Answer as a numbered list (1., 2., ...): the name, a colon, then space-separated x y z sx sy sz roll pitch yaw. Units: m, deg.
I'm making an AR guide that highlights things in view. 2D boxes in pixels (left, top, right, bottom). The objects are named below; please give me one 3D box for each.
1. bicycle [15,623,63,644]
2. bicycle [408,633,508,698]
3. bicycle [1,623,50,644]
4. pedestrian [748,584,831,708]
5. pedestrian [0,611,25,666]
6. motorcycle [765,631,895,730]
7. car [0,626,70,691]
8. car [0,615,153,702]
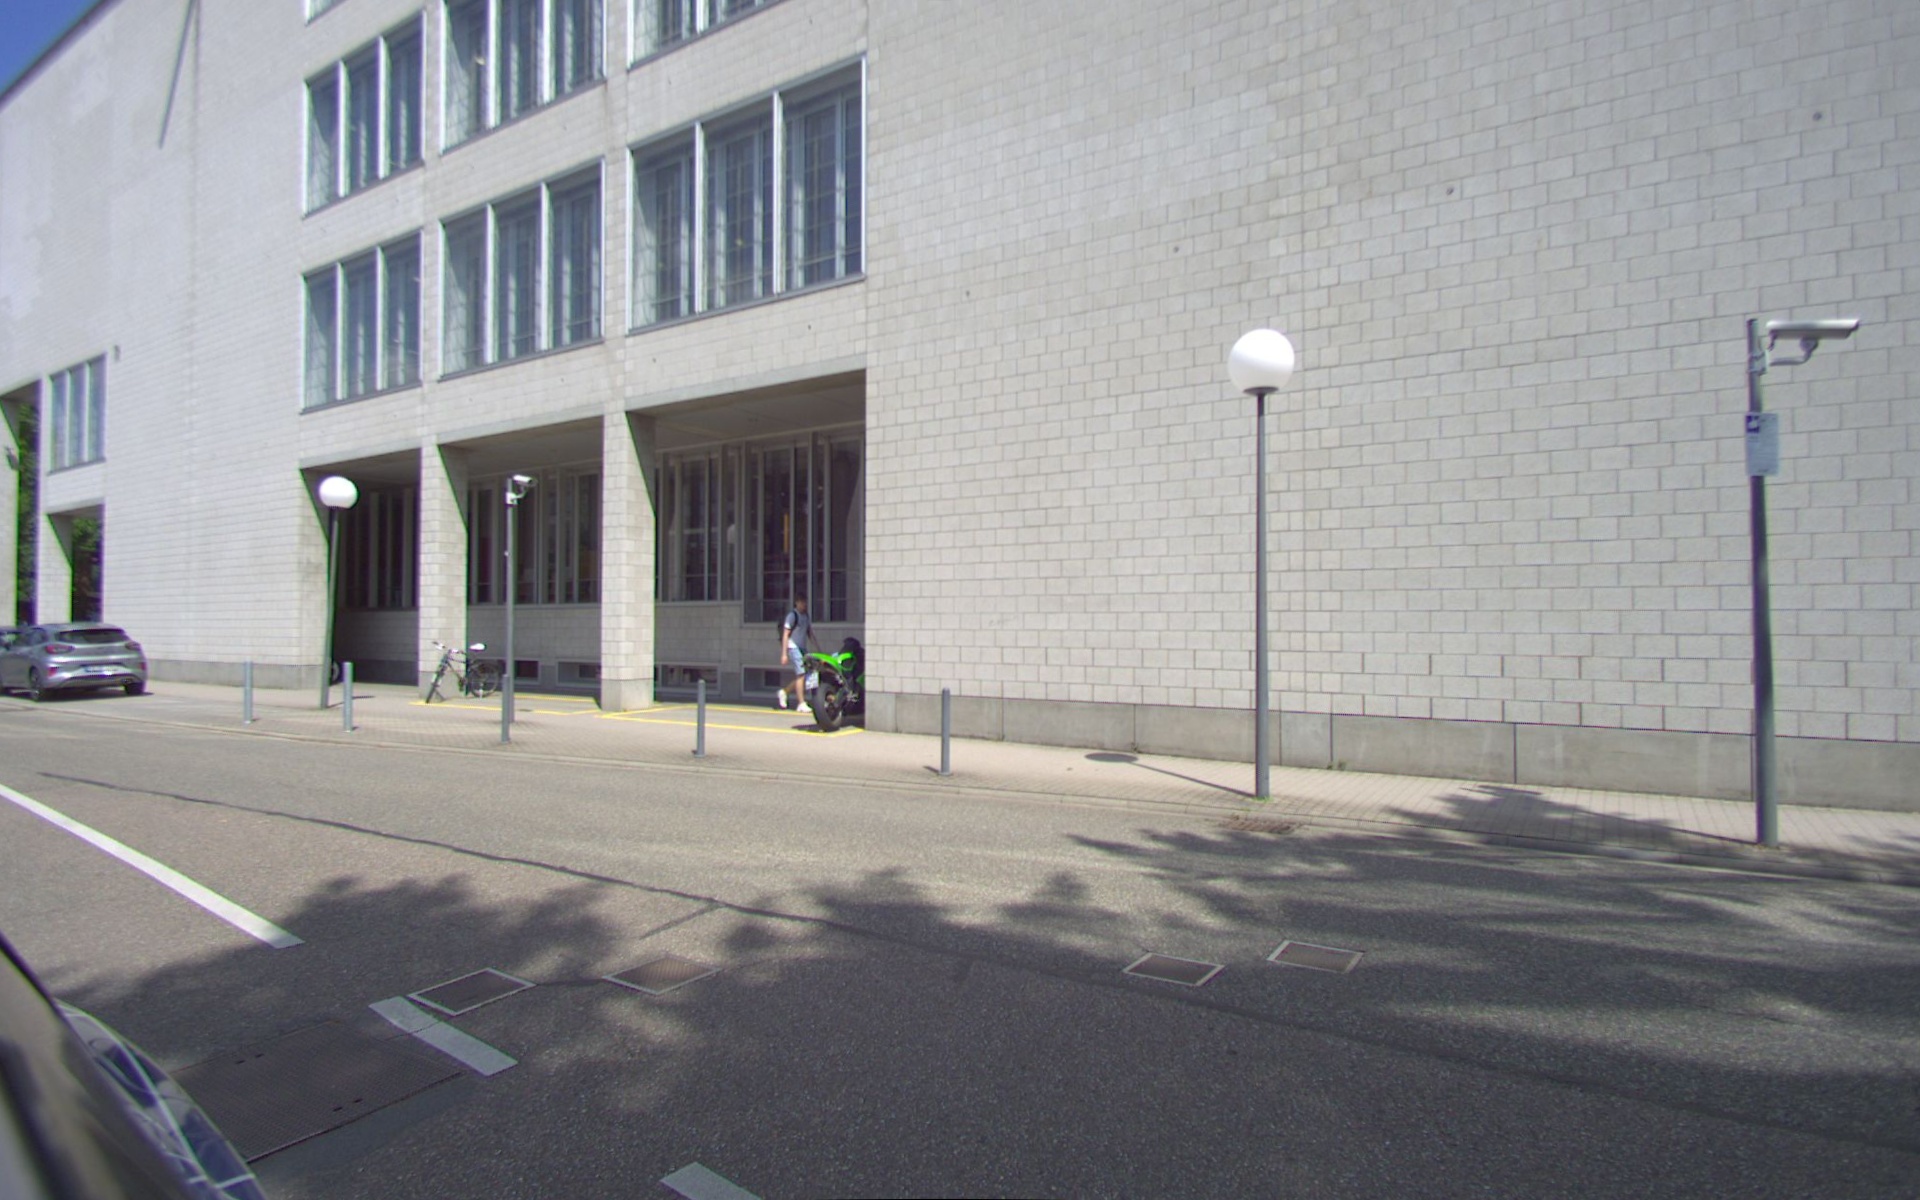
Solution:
1. bicycle: -51.973 1.858 57.155 0.743 1.115 2.122 0 0 3
2. bicycle: -9.262 1.185 18.742 0.605 1.095 1.629 -1 0 27
3. bicycle: -52.779 1.864 57.187 0.743 1.115 2.122 0 0 3
4. pedestrian: -2.650 0.693 15.769 1.011 1.852 0.771 -1 -1 32
5. pedestrian: -35.879 1.433 38.119 1.077 2.029 0.747 -1 -1 32
6. motorcycle: -1.688 1.023 13.556 0.770 1.146 2.156 -1 0 22
7. car: -23.016 1.341 24.008 4.651 1.433 1.712 -1 -1 33
8. car: -18.792 1.138 21.145 4.393 1.546 1.712 0 1 33
